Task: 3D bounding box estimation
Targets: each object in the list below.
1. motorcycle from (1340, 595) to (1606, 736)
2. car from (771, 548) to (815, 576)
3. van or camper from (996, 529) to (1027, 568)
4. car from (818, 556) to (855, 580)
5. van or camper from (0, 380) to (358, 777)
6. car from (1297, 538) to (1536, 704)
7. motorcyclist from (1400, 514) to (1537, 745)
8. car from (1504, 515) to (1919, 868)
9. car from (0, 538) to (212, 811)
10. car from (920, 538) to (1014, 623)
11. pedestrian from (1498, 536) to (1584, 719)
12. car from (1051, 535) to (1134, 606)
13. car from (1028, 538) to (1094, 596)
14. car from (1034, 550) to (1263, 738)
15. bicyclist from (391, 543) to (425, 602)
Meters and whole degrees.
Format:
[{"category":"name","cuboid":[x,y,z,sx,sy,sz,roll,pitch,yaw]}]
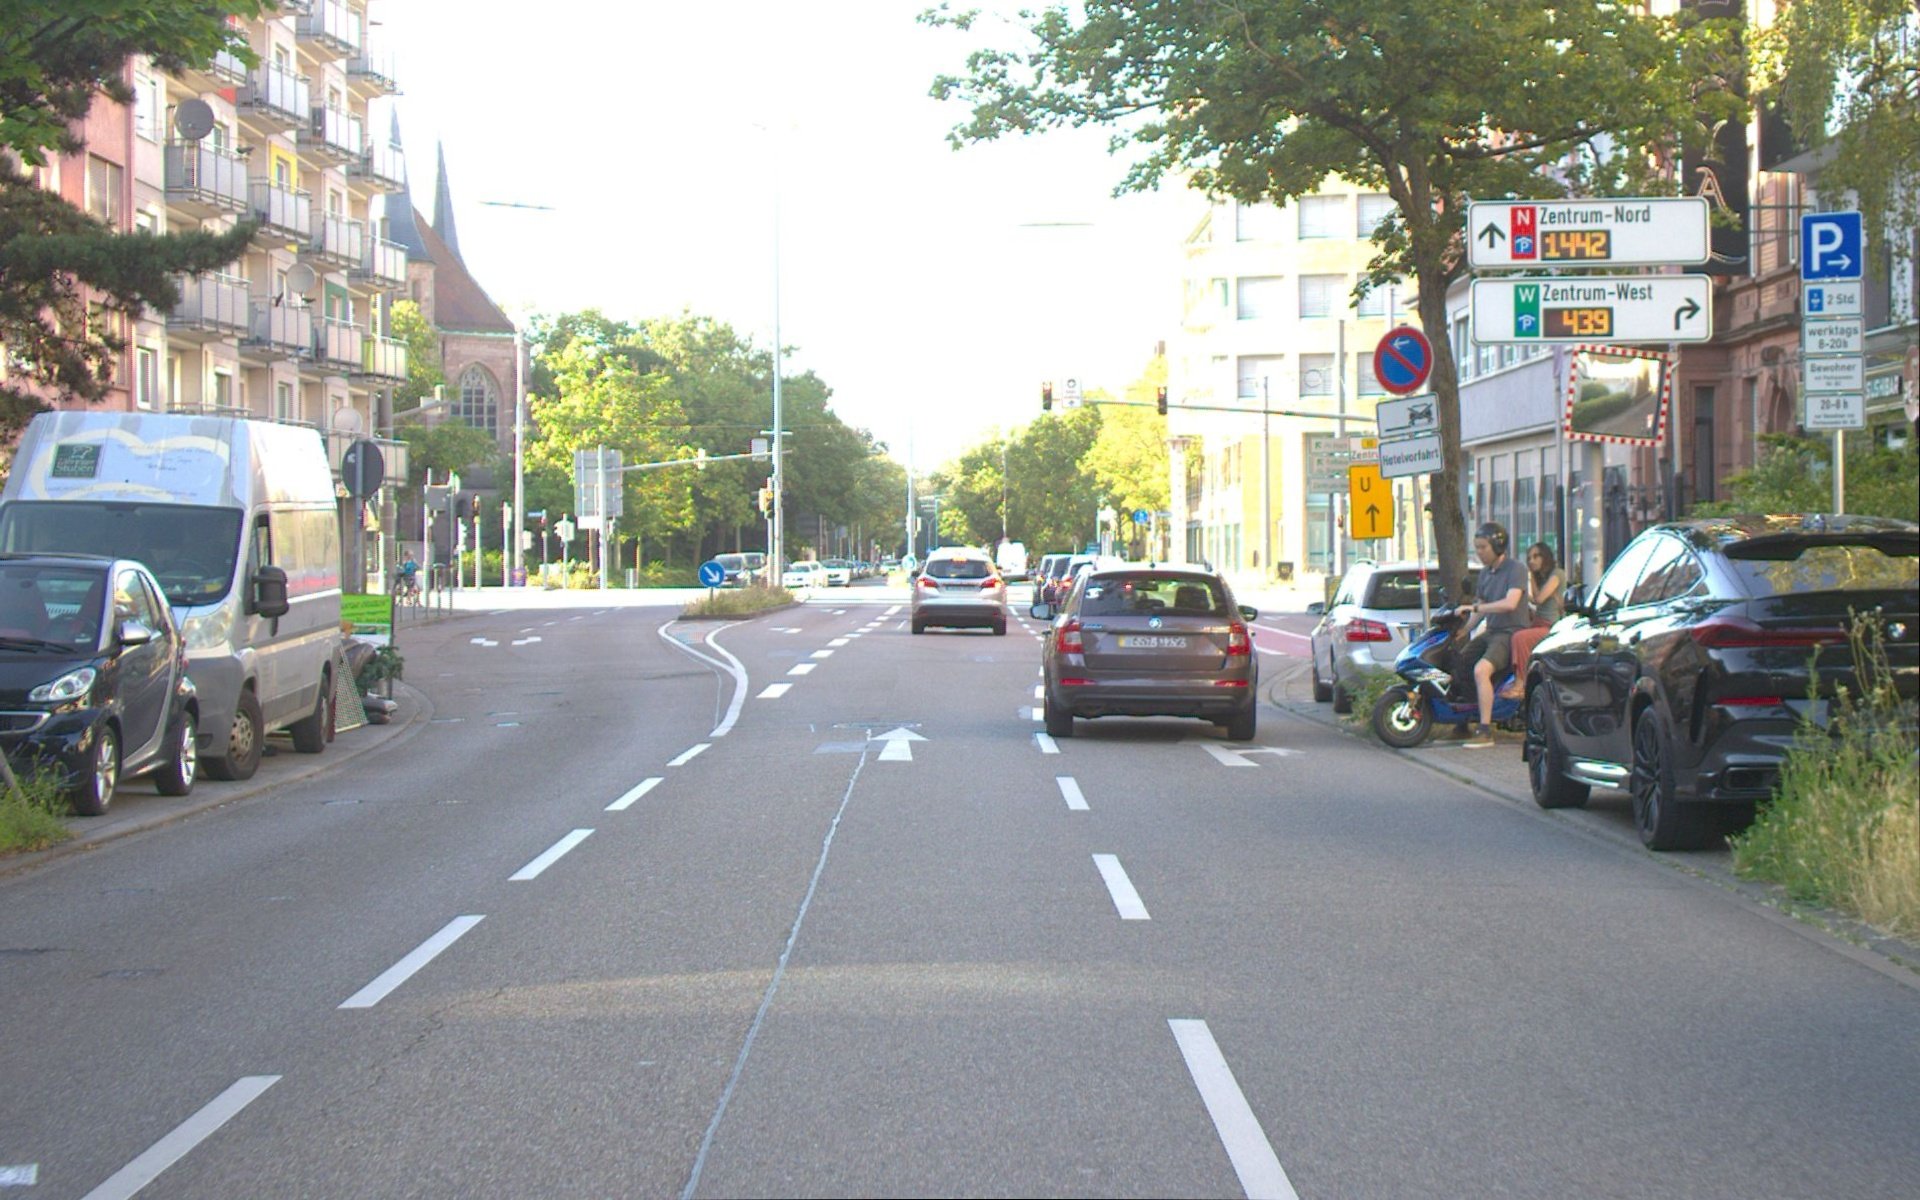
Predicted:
[{"category":"motorcycle","cuboid":[4.057,0.510,27.237,1.925,1.067,0.820,0,1,-12]},{"category":"car","cuboid":[-7.561,-1.729,155.892,1.780,1.232,4.000,0,1,1]},{"category":"van or camper","cuboid":[3.545,-3.514,235.147,1.993,2.631,5.350,0,1,2]},{"category":"car","cuboid":[-6.590,-1.725,183.117,1.780,1.232,4.000,0,1,1]},{"category":"van or camper","cuboid":[-6.059,-0.200,26.412,2.035,2.654,6.017,2,1,-3]},{"category":"car","cuboid":[4.548,0.156,34.900,1.856,1.507,4.834,-2,1,1]},{"category":"motorcyclist","cuboid":[3.985,0.219,26.995,0.736,1.772,1.089,0,1,-12]},{"category":"car","cuboid":[4.338,0.381,18.556,1.947,1.649,4.796,0,1,-1]},{"category":"car","cuboid":[-5.691,0.410,21.356,1.404,1.543,2.762,2,1,1]},{"category":"car","cuboid":[0.129,-0.393,64.812,1.707,1.504,4.309,1,1,0]},{"category":"pedestrian","cuboid":[4.571,0.207,27.071,0.438,1.425,0.704,0,1,-12]},{"category":"car","cuboid":[2.881,-0.674,75.338,1.650,1.479,4.239,1,1,0]},{"category":"car","cuboid":[2.613,-0.865,89.363,1.584,1.442,3.648,1,1,0]},{"category":"car","cuboid":[1.525,0.316,29.084,1.707,1.452,4.159,0,1,0]},{"category":"bicyclist","cuboid":[-15.683,-0.794,97.700,0.782,1.654,0.901,1,0,0]}]
